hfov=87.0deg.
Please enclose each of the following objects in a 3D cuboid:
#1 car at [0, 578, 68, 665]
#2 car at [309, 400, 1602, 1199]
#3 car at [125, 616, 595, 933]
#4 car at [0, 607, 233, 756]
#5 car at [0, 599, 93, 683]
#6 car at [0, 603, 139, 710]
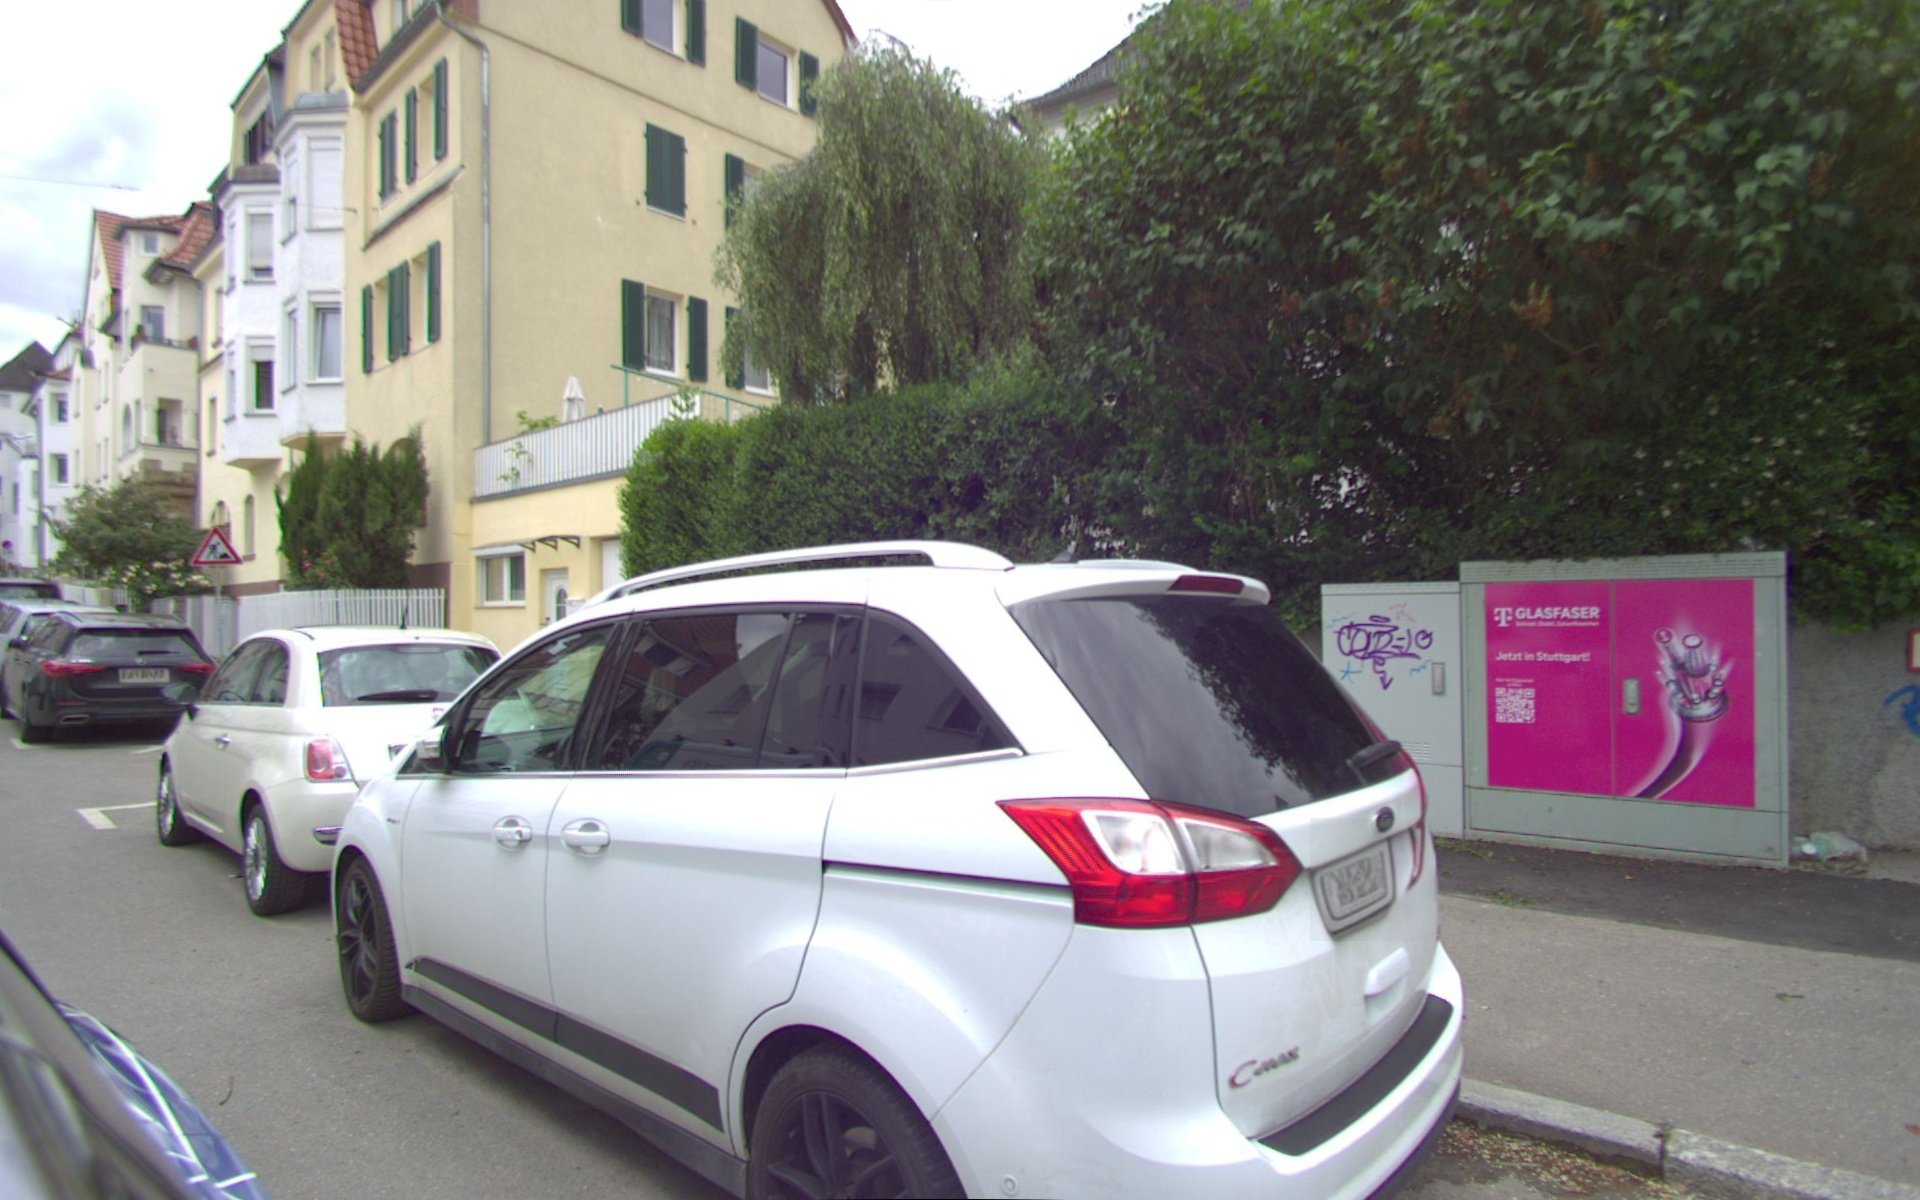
[{"bbox_3d":[-21.629,0.417,22.746,4.146,1.810,1.731,2,0,40],"label":"car"},{"bbox_3d":[-0.485,0.643,3.350,4.150,1.672,1.785,-2,-2,42],"label":"car"},{"bbox_3d":[-4.047,0.877,6.590,3.613,1.464,1.590,0,-3,42],"label":"car"},{"bbox_3d":[-10.704,0.866,12.620,4.328,1.491,1.783,1,0,42],"label":"car"},{"bbox_3d":[-18.095,0.740,19.474,3.703,1.409,1.621,2,-1,42],"label":"car"},{"bbox_3d":[-14.526,0.812,16.100,4.122,1.439,1.621,1,-1,42],"label":"car"}]
